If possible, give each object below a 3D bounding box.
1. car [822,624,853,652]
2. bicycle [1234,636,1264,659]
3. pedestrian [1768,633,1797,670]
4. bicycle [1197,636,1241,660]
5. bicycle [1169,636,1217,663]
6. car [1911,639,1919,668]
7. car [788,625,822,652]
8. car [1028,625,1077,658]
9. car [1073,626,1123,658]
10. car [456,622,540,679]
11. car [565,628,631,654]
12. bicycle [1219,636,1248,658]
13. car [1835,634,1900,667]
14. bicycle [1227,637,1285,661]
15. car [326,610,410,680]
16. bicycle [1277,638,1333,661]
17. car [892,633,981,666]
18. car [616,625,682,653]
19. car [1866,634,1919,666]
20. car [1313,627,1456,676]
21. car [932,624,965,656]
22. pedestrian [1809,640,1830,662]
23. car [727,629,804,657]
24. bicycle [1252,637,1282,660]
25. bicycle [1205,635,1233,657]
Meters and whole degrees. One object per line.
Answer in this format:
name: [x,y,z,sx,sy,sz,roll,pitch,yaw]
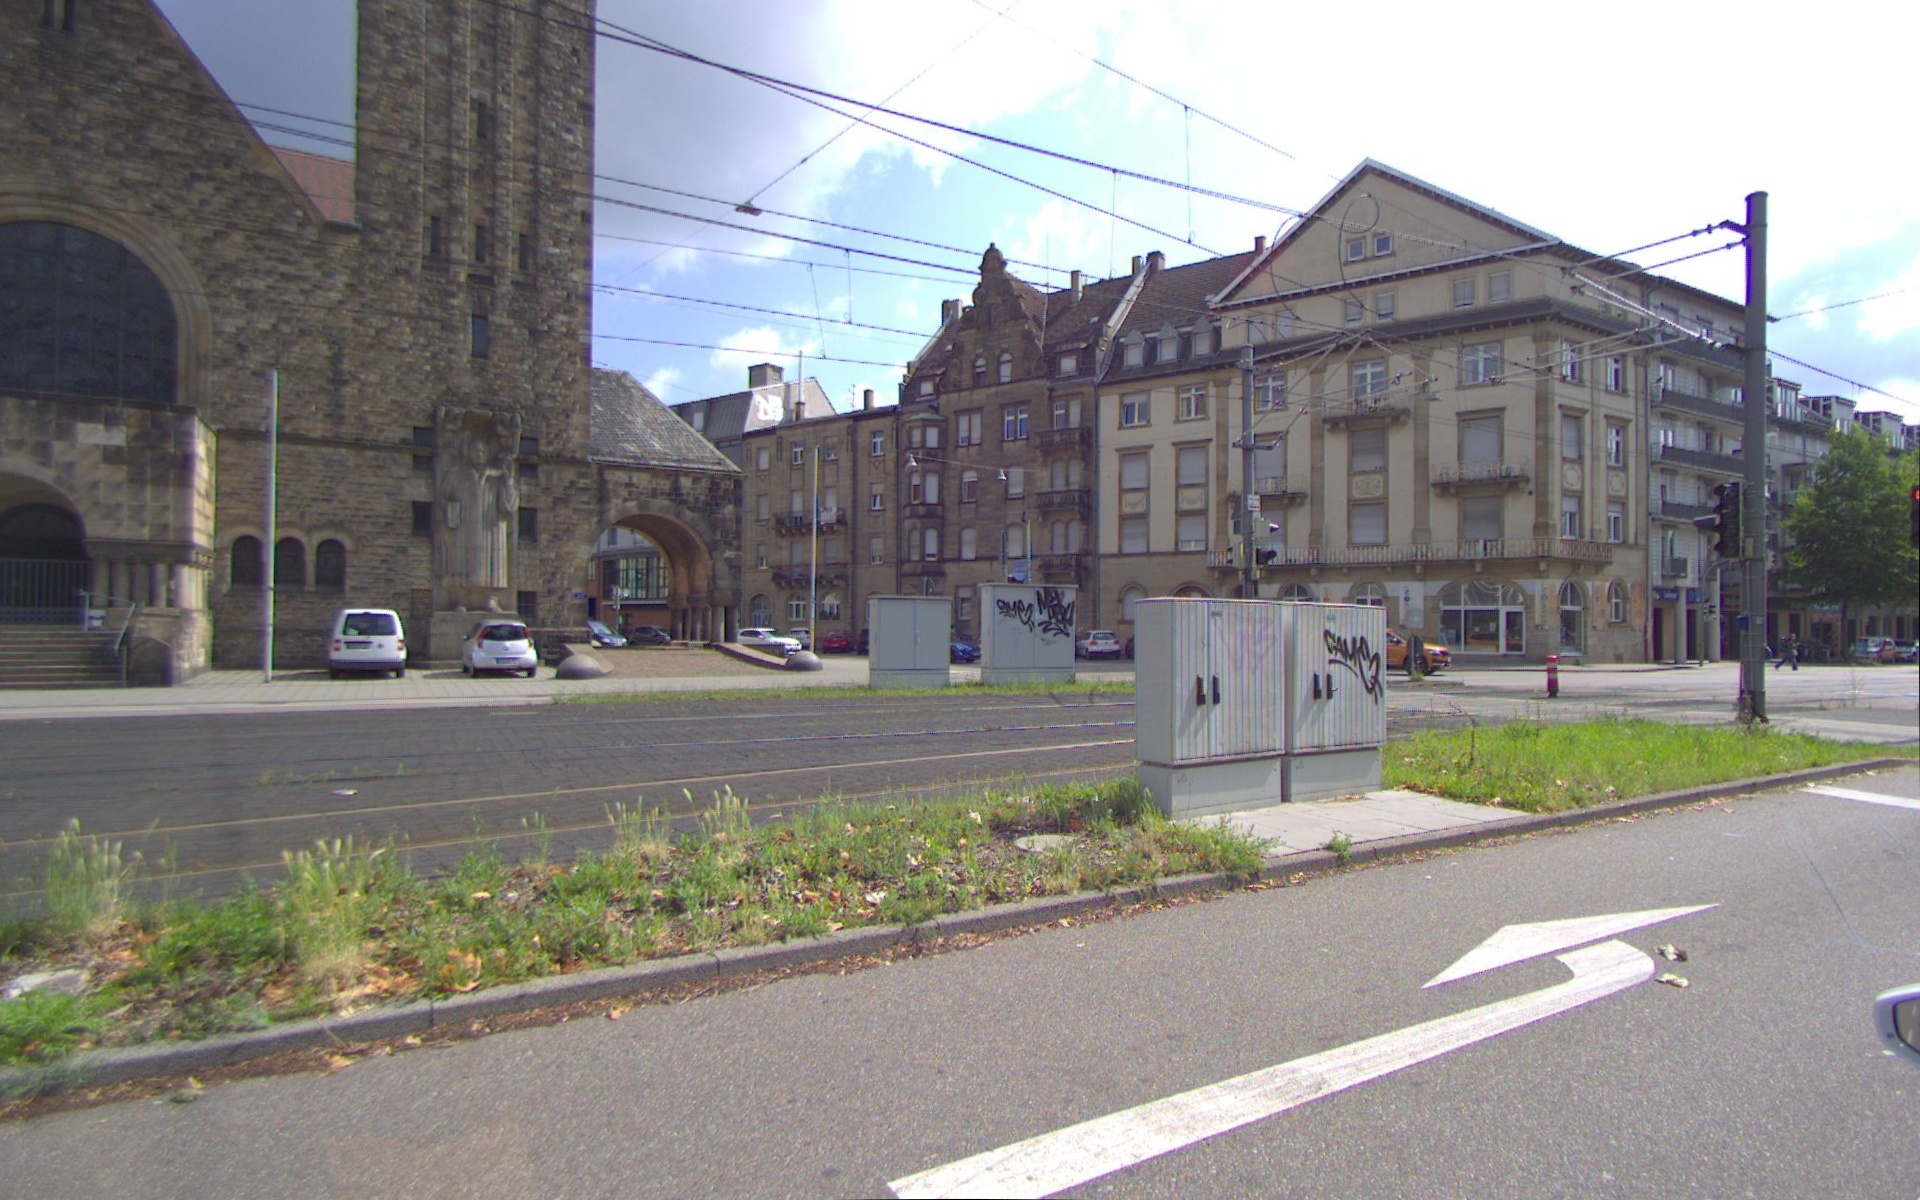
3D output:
car: [-7.709,2.404,63.390,1.617,1.718,3.859,0,-2,-2]
bicycle: [14.163,2.321,49.114,0.792,1.067,2.561,-1,-2,31]
pedestrian: [36.417,2.271,44.481,0.846,1.617,0.693,0,-1,26]
bicycle: [12.226,2.265,47.398,1.939,1.129,0.487,-1,-2,24]
bicycle: [11.513,2.412,49.761,0.982,1.270,3.313,0,-2,-13]
car: [69.357,3.783,71.044,3.953,2.040,1.984,1,-2,-30]
car: [-10.027,2.473,65.051,1.686,1.706,4.000,0,-2,-2]
car: [4.972,2.215,54.259,1.962,1.695,3.998,0,-2,-5]
car: [7.259,2.197,53.057,1.768,1.661,3.998,0,-2,-5]
car: [-13.291,1.407,28.817,1.833,1.522,3.249,1,-2,-31]
car: [-20.696,2.320,57.441,3.719,1.449,1.709,-1,-2,34]
bicycle: [13.500,2.314,49.586,0.729,1.067,2.561,-1,-2,31]
car: [58.101,3.195,64.290,3.953,2.040,1.984,1,-2,-30]
bicycle: [13.922,2.295,47.224,2.522,1.067,0.680,-1,-2,33]
car: [-16.454,1.213,27.840,1.874,1.771,3.849,1,-2,-32]
bicycle: [16.347,2.334,47.573,2.525,1.067,0.803,1,-2,-18]
car: [-1.116,2.237,46.180,3.933,1.449,1.532,-1,-2,34]
car: [-18.863,2.352,60.831,3.934,1.611,1.777,-1,-2,35]
car: [62.205,3.269,66.622,3.953,2.040,1.984,1,-2,-30]
car: [14.489,1.723,34.382,4.259,1.567,1.624,-1,-2,38]
car: [-0.631,2.293,58.352,1.850,1.782,4.001,0,-2,1]
pedestrian: [50.260,2.980,58.760,0.695,1.227,0.750,1,-2,-30]
car: [-10.226,2.234,52.735,4.122,1.449,1.532,-1,-2,34]
bicycle: [14.878,2.329,48.662,0.792,1.067,2.561,-1,-2,31]
bicycle: [13.021,2.316,50.383,0.729,1.067,2.360,-1,-2,31]
